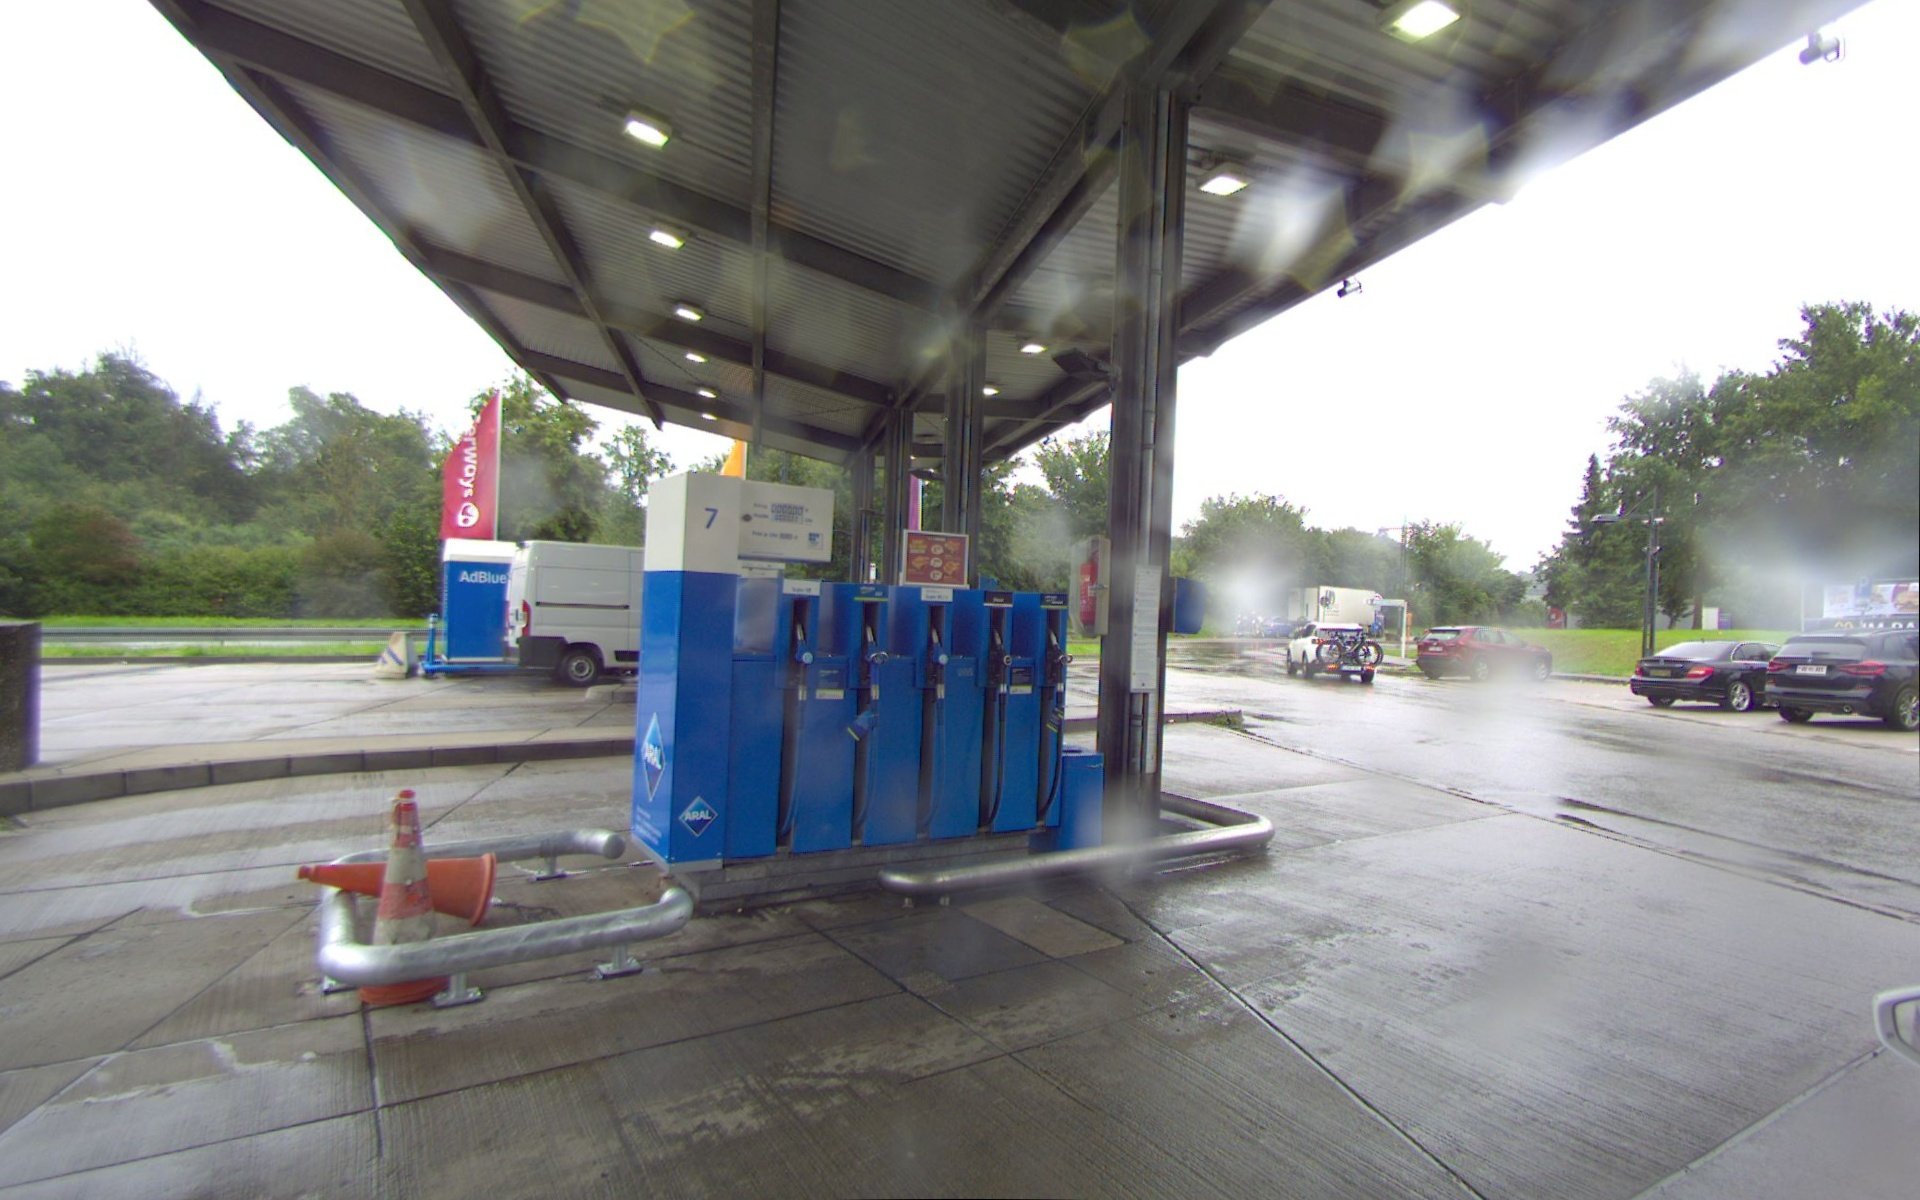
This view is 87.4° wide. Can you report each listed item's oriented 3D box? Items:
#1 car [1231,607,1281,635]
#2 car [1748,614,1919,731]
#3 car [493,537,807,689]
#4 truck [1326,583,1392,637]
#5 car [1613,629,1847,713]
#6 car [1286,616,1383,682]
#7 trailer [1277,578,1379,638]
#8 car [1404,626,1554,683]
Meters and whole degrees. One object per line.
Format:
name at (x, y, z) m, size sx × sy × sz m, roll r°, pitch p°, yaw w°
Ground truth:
car at (20.926, 1.458, 70.841) m, size 1.903 × 1.862 × 4.373 m, roll 1°, pitch 0°, yaw 38°
car at (16.159, 1.196, 17.415) m, size 4.344 × 1.852 × 1.883 m, roll 1°, pitch -1°, yaw -19°
car at (-5.766, 0.275, 18.972) m, size 5.227 × 2.496 × 2.306 m, roll 1°, pitch -1°, yaw -34°
truck at (35.604, 0.937, 89.467) m, size 3.416 × 4.618 × 6.704 m, roll 2°, pitch 0°, yaw 40°
car at (15.947, 1.424, 20.834) m, size 4.119 × 1.585 × 1.883 m, roll 1°, pitch -1°, yaw -19°
car at (10.438, 1.301, 28.337) m, size 1.783 × 1.586 × 5.007 m, roll 1°, pitch 0°, yaw 12°
trailer at (30.930, 0.766, 83.864) m, size 3.416 × 4.618 × 13.847 m, roll 2°, pitch 0°, yaw 40°
car at (16.011, 1.654, 30.980) m, size 4.294 × 1.617 × 1.879 m, roll 1°, pitch -1°, yaw -24°
